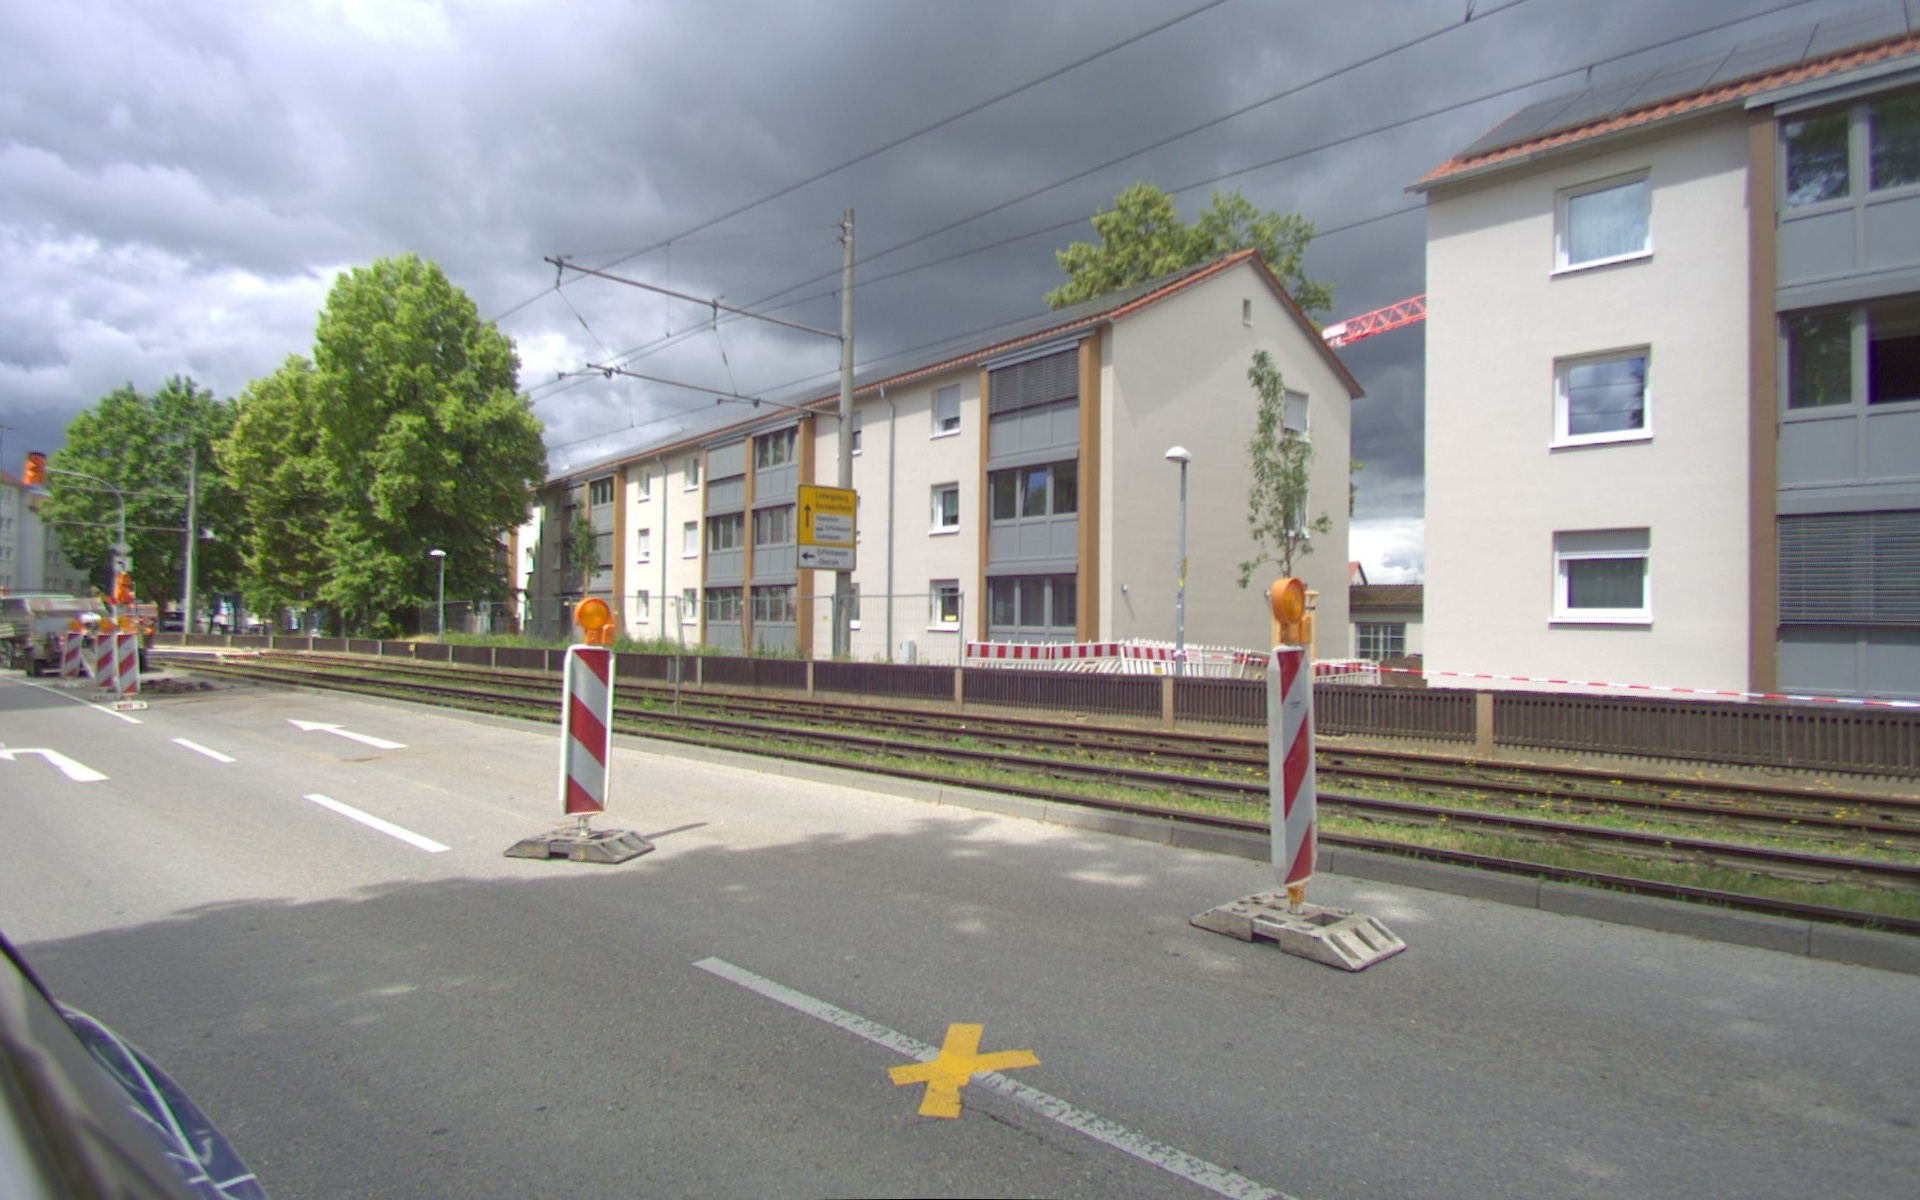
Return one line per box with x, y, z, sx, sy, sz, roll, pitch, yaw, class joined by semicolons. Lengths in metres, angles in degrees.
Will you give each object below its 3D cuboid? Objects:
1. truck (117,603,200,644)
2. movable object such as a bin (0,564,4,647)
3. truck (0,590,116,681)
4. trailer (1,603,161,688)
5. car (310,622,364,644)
-53.082;1.581;67.157;2.378;2.588;5.600;1;-2;-17;truck
-65.765;0.208;63.262;2.787;5.527;9.018;0;-2;6;movable object such as a bin
-30.545;1.119;33.752;6.391;2.746;2.635;-1;-1;40;truck
-25.772;1.233;29.592;6.243;2.230;2.635;-1;-1;40;trailer
-44.279;2.350;71.917;3.150;1.466;1.568;2;-3;-35;car
